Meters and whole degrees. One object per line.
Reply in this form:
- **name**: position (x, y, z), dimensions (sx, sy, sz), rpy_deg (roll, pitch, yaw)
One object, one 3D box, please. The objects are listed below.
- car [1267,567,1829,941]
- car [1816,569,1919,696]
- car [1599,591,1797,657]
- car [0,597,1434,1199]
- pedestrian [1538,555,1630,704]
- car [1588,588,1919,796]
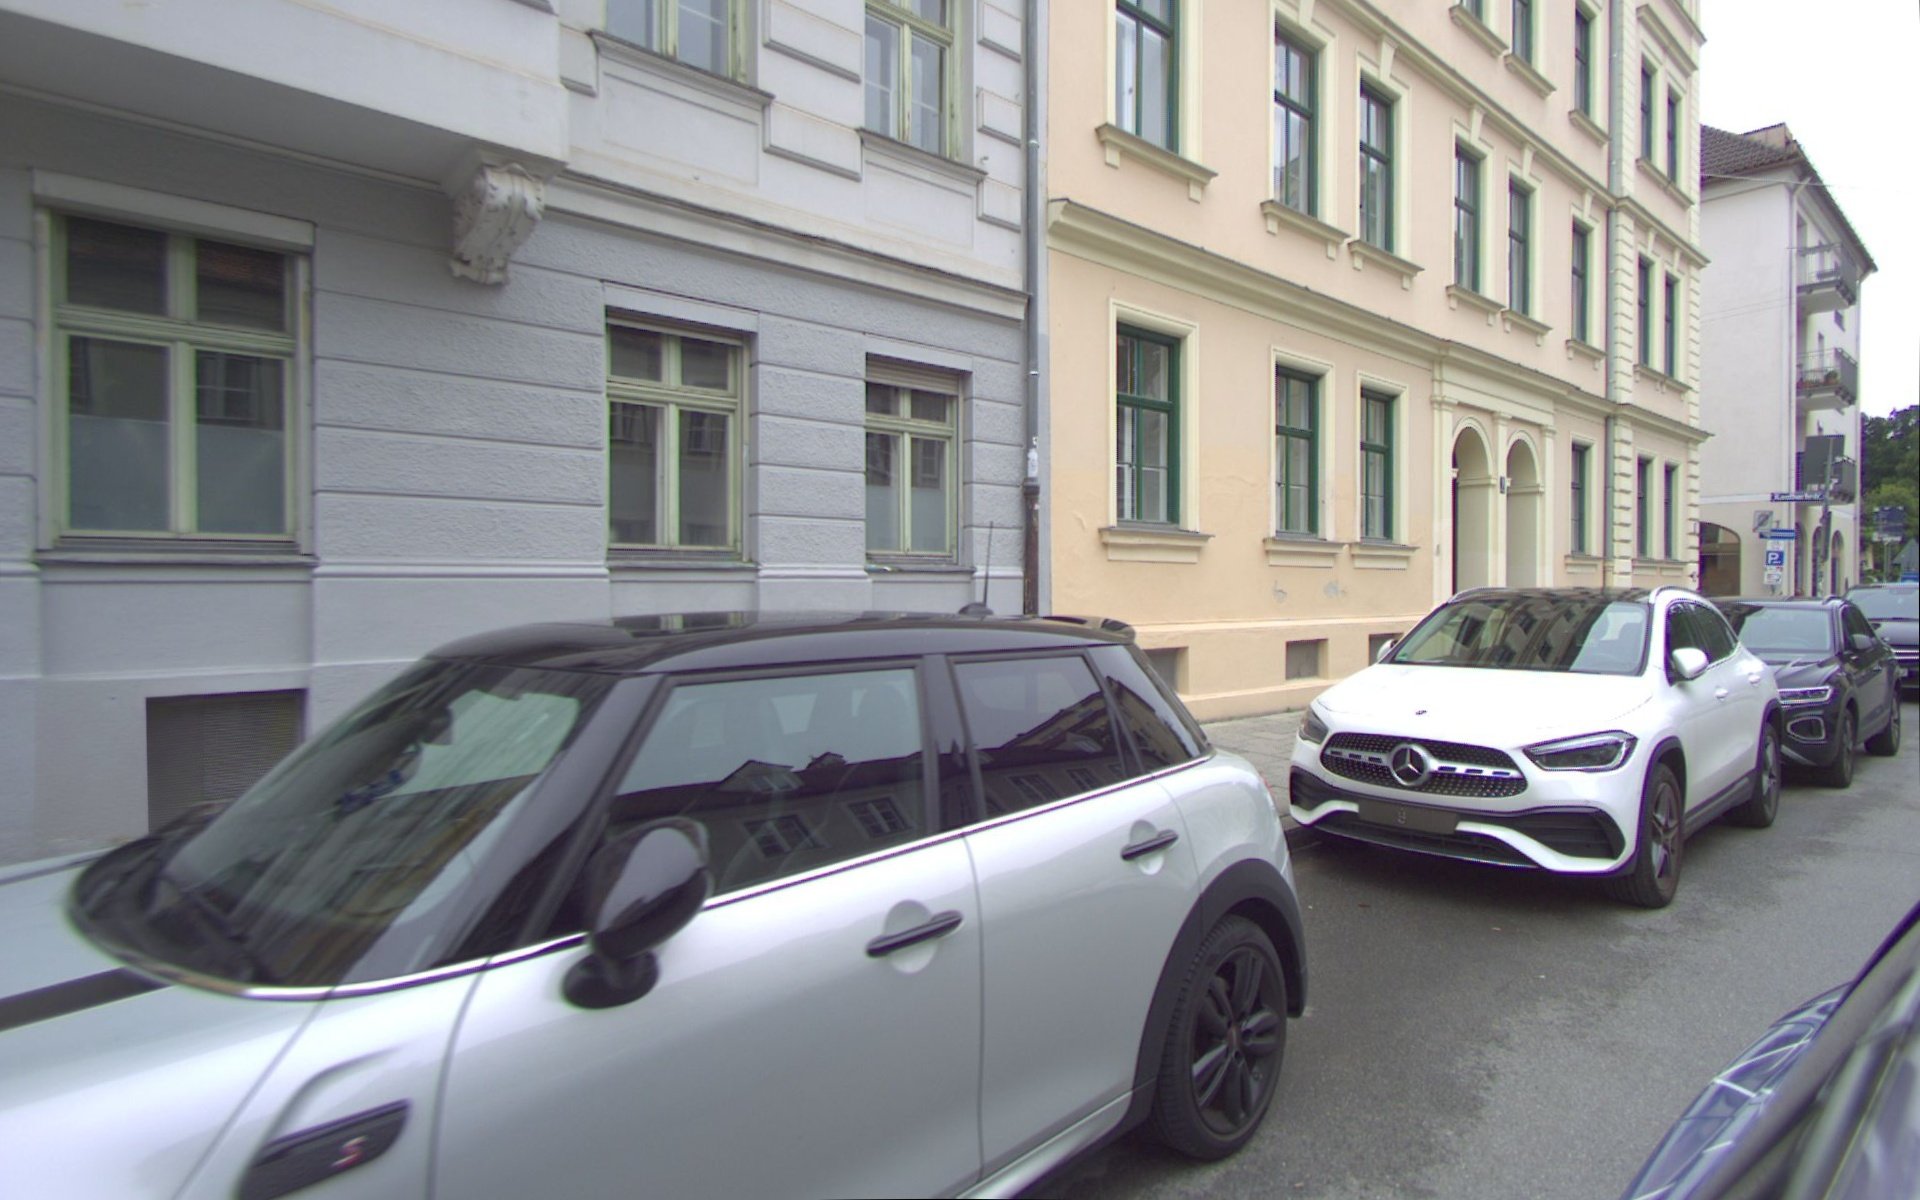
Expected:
- **car**: position (3.949, 0.639, 6.438), dimensions (4.388, 1.603, 1.746), rpy_deg (-1, 0, -40)
- **car**: position (16.136, 0.479, 16.821), dimensions (5.158, 1.888, 2.002), rpy_deg (0, 0, -39)
- **car**: position (20.088, 0.622, 27.660), dimensions (1.724, 1.626, 4.095), rpy_deg (2, -1, -41)
- **car**: position (-0.561, 0.716, 2.475), dimensions (4.136, 1.422, 1.710), rpy_deg (-1, 0, -43)
- **pedestrian**: position (7.658, 0.331, 12.416), dimensions (0.986, 1.738, 0.720), rpy_deg (-1, 1, -42)
- **car**: position (7.667, 0.664, 9.561), dimensions (4.199, 1.540, 1.758), rpy_deg (0, 0, -40)
